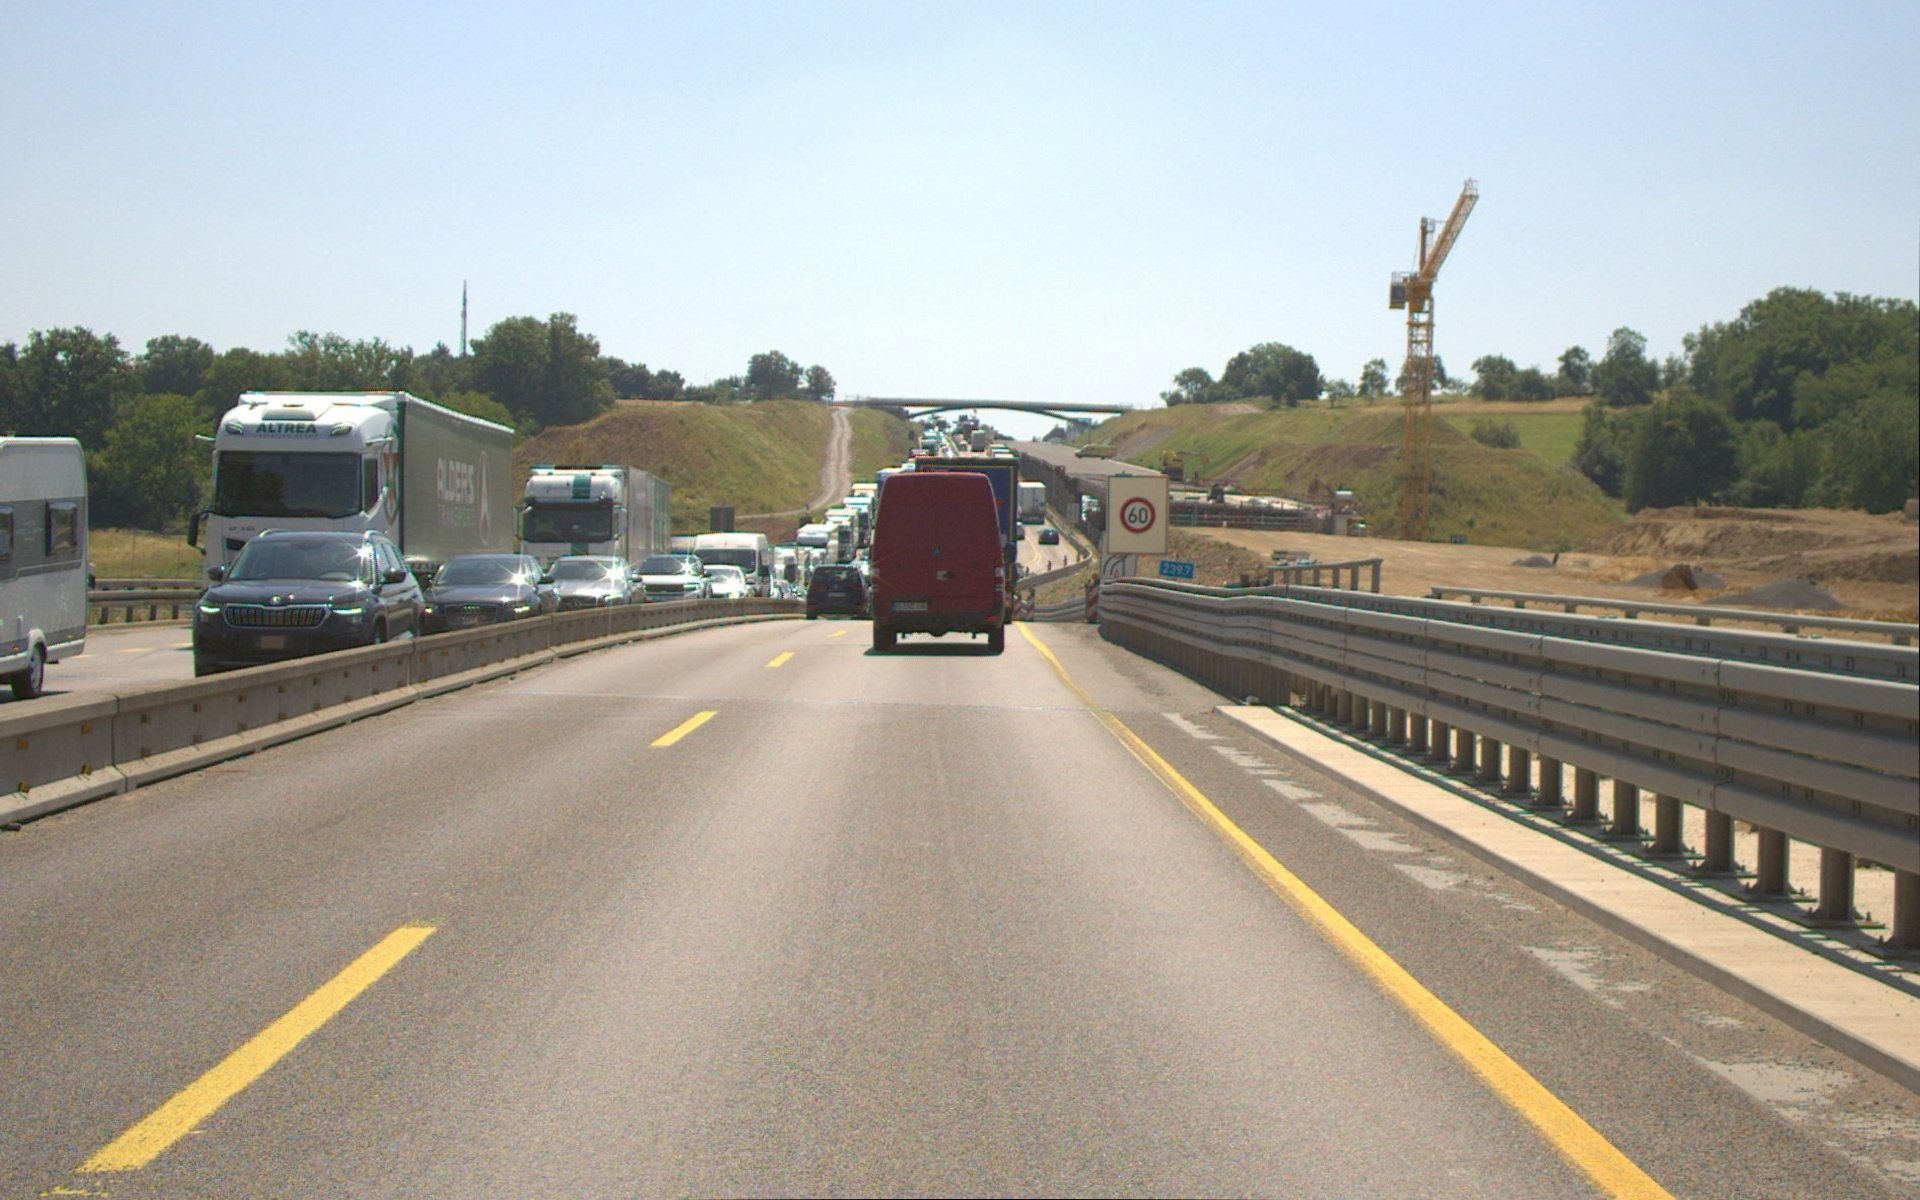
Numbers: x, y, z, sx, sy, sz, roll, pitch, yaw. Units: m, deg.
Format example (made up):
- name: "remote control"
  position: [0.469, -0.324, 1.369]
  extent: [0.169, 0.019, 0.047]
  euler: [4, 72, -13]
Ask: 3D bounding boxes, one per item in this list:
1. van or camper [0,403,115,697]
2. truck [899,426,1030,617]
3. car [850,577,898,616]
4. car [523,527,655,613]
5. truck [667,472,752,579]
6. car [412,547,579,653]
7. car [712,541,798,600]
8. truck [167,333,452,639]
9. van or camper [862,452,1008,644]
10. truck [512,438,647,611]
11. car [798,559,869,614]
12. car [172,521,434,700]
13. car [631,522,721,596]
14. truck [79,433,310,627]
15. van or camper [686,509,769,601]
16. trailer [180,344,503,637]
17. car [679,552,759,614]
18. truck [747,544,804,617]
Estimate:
- name: "van or camper"
  position: [-10.018, -0.493, 32.942]
  extent: [2.503, 2.689, 5.243]
  euler: [0, 1, 1]
- name: "truck"
  position: [0.050, -2.009, 88.539]
  extent: [3.020, 4.677, 6.933]
  euler: [-1, 1, -2]
- name: "car"
  position: [-3.682, -0.179, 147.905]
  extent: [2.012, 1.539, 4.133]
  euler: [2, 1, -1]
- name: "car"
  position: [-6.827, -0.575, 63.640]
  extent: [1.865, 1.454, 4.607]
  euler: [2, 1, 0]
- name: "truck"
  position: [-10.173, -3.026, 140.487]
  extent: [2.802, 4.138, 10.080]
  euler: [2, 1, -1]
- name: "car"
  position: [-6.782, -0.030, 50.610]
  extent: [1.777, 1.415, 4.538]
  euler: [2, 1, 0]
- name: "car"
  position: [-6.623, -0.984, 111.815]
  extent: [2.371, 1.720, 5.781]
  euler: [3, 1, 0]
- name: "truck"
  position: [-10.215, -1.752, 54.731]
  extent: [3.078, 4.521, 7.103]
  euler: [1, 1, 1]
- name: "van or camper"
  position: [-0.420, -0.788, 51.970]
  extent: [2.029, 2.735, 4.516]
  euler: [1, 1, -2]
- name: "truck"
  position: [-9.968, -1.987, 90.542]
  extent: [2.806, 4.377, 6.225]
  euler: [0, 1, 0]
- name: "car"
  position: [-3.695, -0.424, 100.792]
  extent: [2.012, 1.540, 4.133]
  euler: [1, 1, -2]
- name: "car"
  position: [-6.749, 0.060, 35.778]
  extent: [1.847, 1.682, 4.619]
  euler: [2, 1, -1]
- name: "car"
  position: [-6.702, -0.979, 81.447]
  extent: [1.756, 1.641, 4.156]
  euler: [2, 1, -1]
- name: "truck"
  position: [-15.885, -1.472, 71.975]
  extent: [2.904, 3.752, 8.368]
  euler: [1, 1, 0]
- name: "van or camper"
  position: [-6.719, -1.323, 99.652]
  extent: [2.218, 2.503, 6.534]
  euler: [2, 1, -4]
- name: "trailer"
  position: [-10.286, -1.778, 58.868]
  extent: [3.102, 4.449, 13.020]
  euler: [0, 1, 0]
- name: "car"
  position: [-6.340, -0.471, 90.353]
  extent: [1.993, 1.493, 4.976]
  euler: [2, 1, -4]
- name: "truck"
  position: [-10.809, -1.137, 201.154]
  extent: [2.976, 4.170, 5.875]
  euler: [1, 0, -6]
